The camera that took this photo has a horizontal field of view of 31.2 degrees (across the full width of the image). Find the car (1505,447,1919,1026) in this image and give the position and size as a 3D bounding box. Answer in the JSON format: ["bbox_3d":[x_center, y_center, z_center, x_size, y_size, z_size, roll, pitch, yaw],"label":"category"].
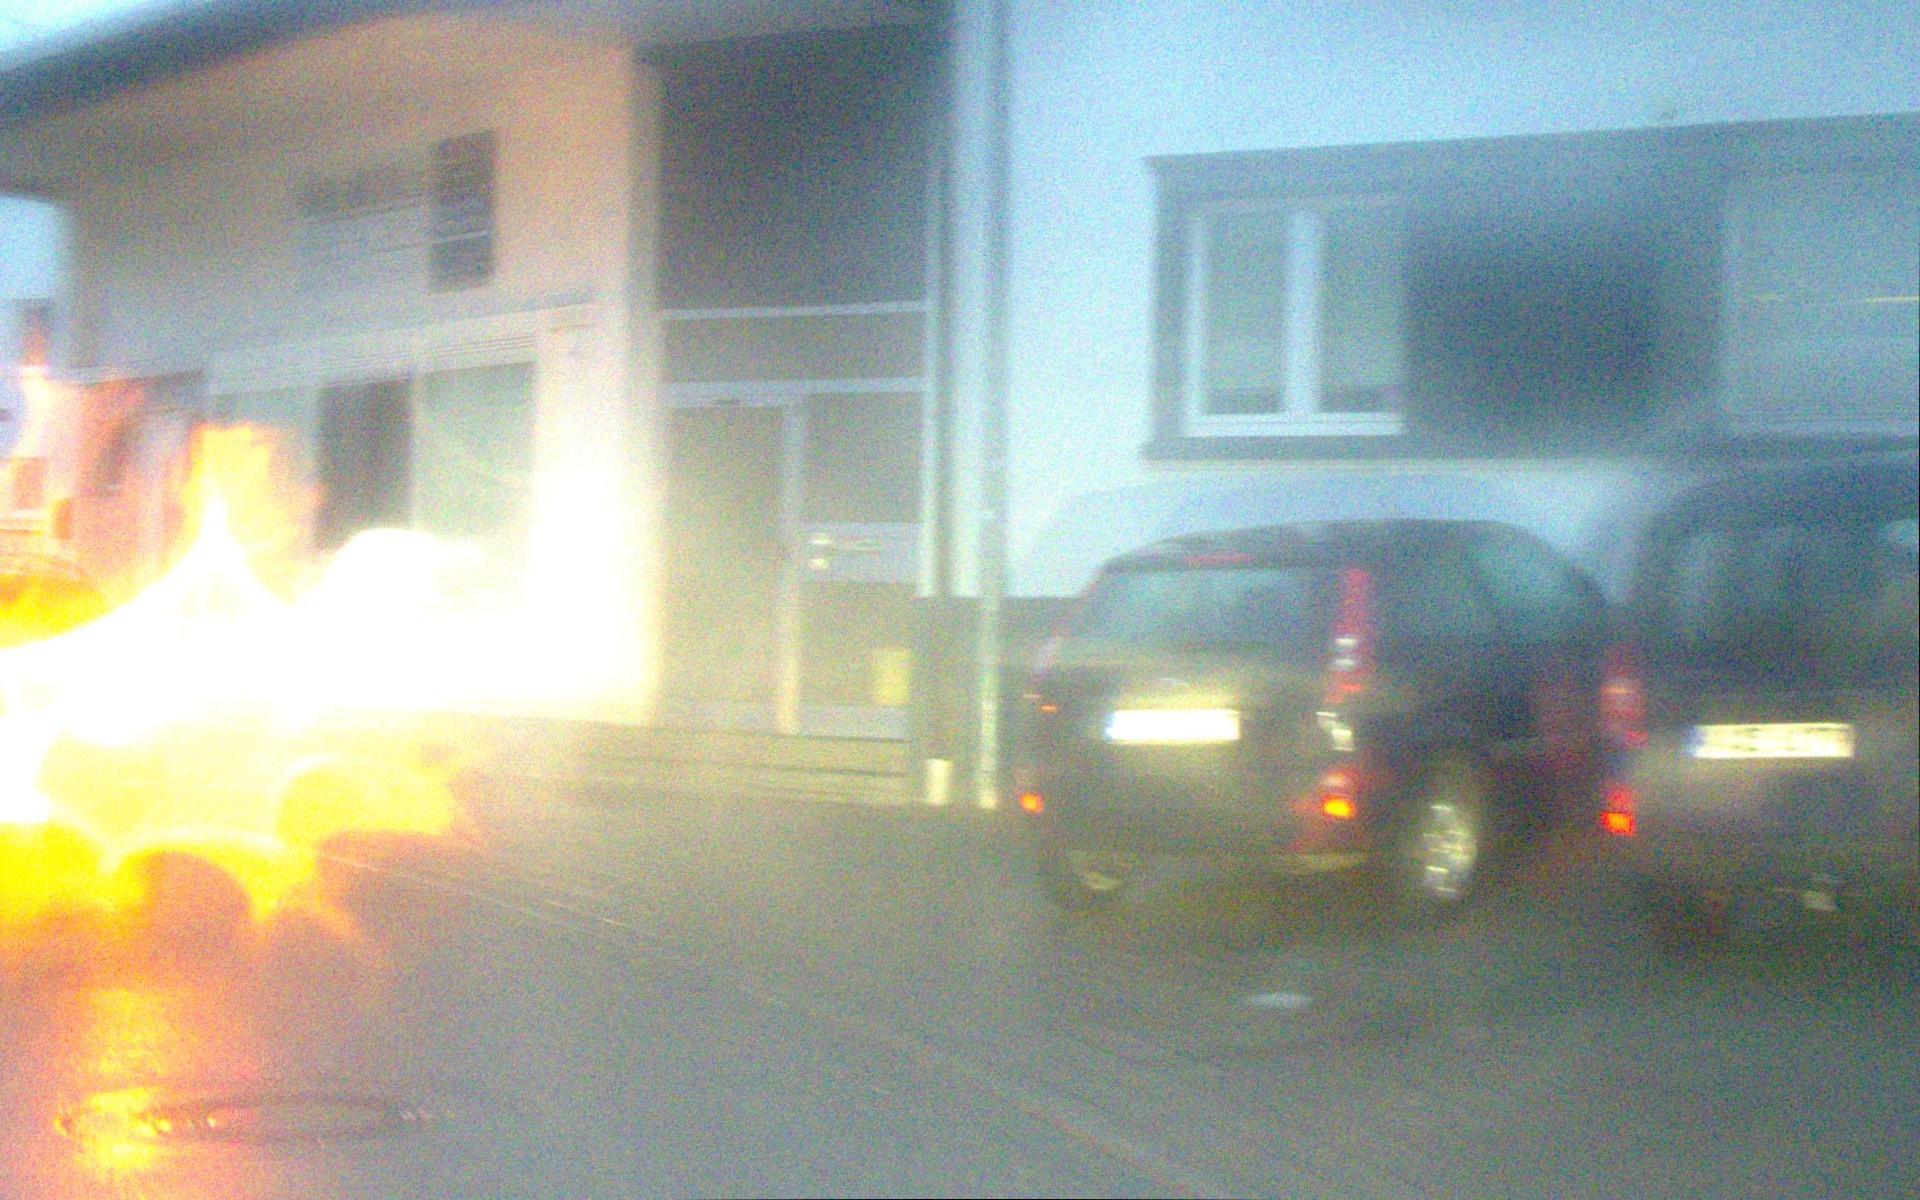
[{"bbox_3d":[3.690,0.305,12.218,1.853,1.655,4.469,-1,3,31],"label":"car"}]

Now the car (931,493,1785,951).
[{"bbox_3d":[1.760,0.380,13.962,1.886,1.445,3.887,-1,3,33],"label":"car"}]

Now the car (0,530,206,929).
[{"bbox_3d":[-4.440,0.426,14.286,1.546,1.461,3.699,2,1,-28],"label":"car"}]
